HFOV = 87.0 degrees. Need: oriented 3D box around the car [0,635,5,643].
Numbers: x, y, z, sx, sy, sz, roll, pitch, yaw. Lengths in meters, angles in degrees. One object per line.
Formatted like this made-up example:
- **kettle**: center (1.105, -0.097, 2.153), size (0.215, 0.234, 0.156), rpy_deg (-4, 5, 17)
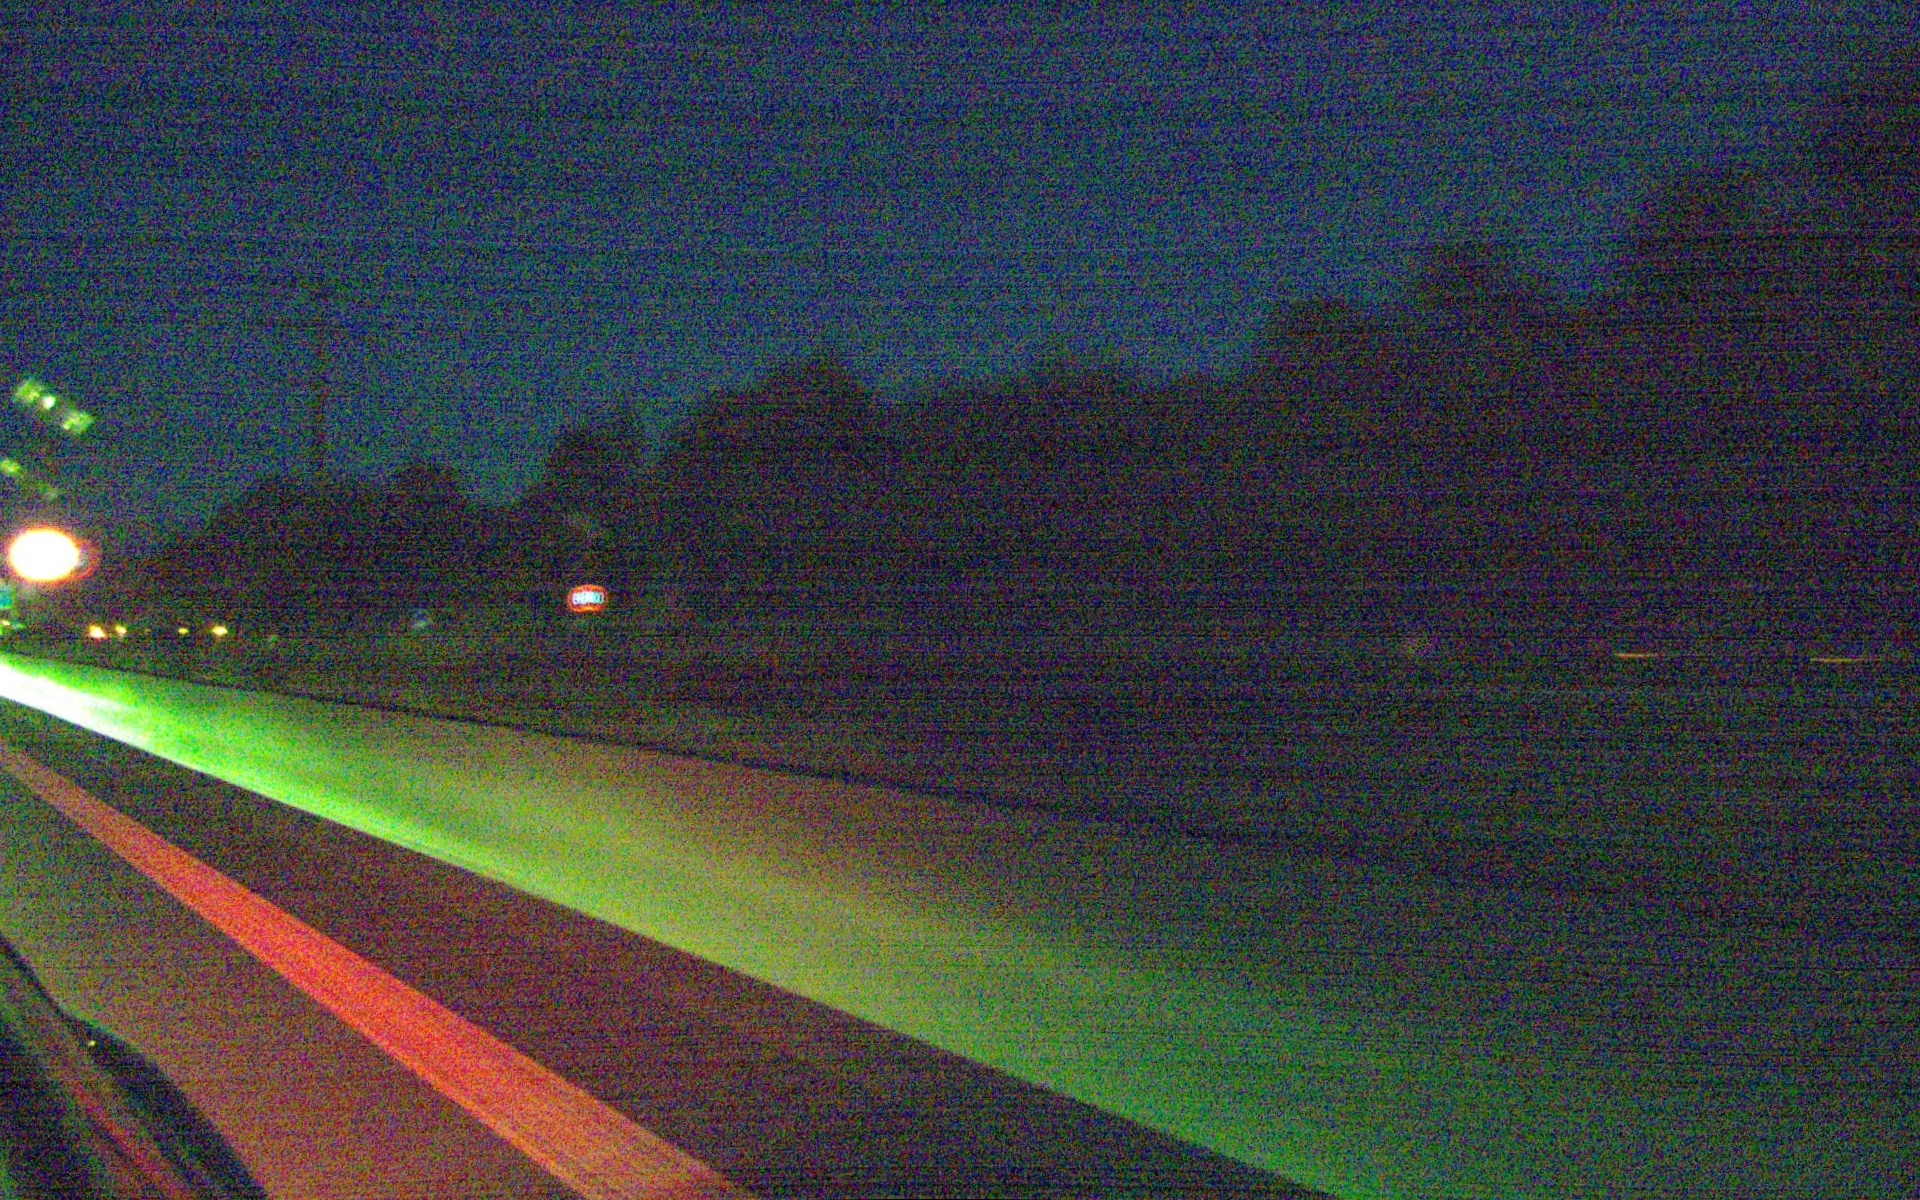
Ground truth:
- **car**: center (-163.358, 6.534, 171.657), size (4.810, 1.344, 1.643), rpy_deg (-2, -4, 44)
